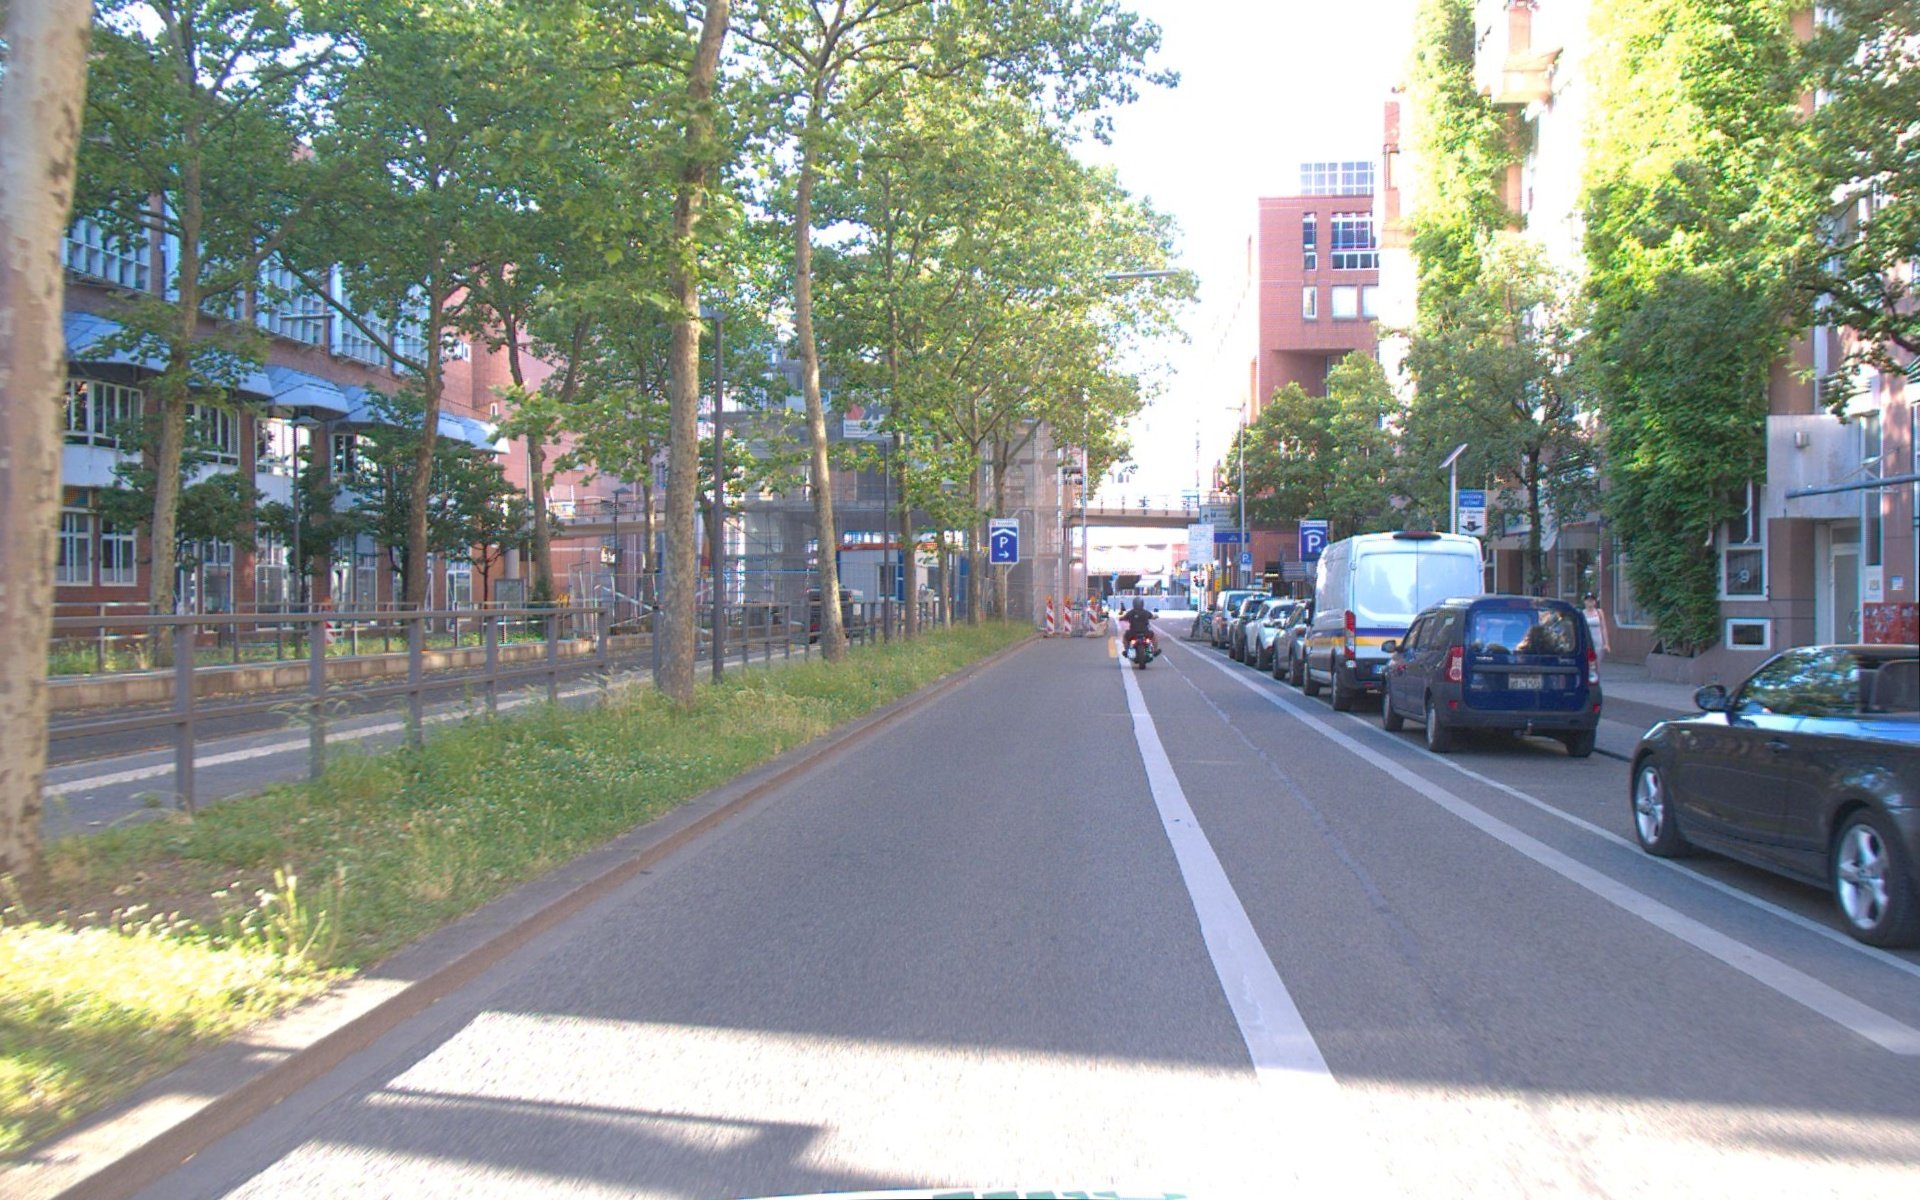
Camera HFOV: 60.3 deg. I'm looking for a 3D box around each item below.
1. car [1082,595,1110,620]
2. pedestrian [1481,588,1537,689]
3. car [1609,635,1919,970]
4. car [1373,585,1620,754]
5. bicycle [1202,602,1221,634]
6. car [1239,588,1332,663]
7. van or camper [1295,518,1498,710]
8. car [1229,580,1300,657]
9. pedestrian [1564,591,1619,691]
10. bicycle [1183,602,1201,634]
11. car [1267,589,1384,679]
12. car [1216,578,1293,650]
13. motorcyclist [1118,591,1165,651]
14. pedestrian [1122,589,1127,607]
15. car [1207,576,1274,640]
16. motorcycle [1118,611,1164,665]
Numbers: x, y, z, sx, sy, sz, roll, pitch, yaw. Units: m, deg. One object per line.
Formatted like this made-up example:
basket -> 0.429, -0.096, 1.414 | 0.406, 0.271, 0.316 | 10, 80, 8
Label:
car -> 9.986, 0.541, 121.708 | 1.813, 1.747, 4.001 | 0, 0, 1
pedestrian -> 9.172, 0.635, 27.629 | 0.747, 1.673, 0.547 | 0, 0, -3
car -> 4.989, 0.906, 8.791 | 1.586, 1.325, 4.313 | 0, 0, 3
car -> 5.805, 0.663, 18.420 | 1.586, 1.647, 4.487 | 0, 0, 4
bicycle -> 10.111, 0.718, 66.522 | 0.650, 1.256, 2.229 | 0, 0, 6
car -> 7.528, 0.552, 38.503 | 1.586, 1.638, 3.776 | 0, 0, 3
van or camper -> 6.486, 0.170, 25.289 | 2.005, 2.585, 5.776 | 0, 0, 4
car -> 7.874, 0.450, 42.961 | 1.586, 1.898, 3.777 | 0, 0, 7
pedestrian -> 9.582, 0.608, 25.097 | 0.749, 1.470, 0.780 | 1, 0, 22
bicycle -> 9.348, 0.706, 66.621 | 0.650, 1.256, 2.229 | 0, 0, 6
car -> 6.960, 0.601, 31.795 | 1.586, 1.631, 3.776 | 0, 0, 3
car -> 8.739, 0.384, 49.312 | 1.797, 2.049, 4.390 | 0, 0, 4
motorcyclist -> 4.066, 0.464, 37.098 | 0.990, 1.285, 0.774 | 2, 0, 6
pedestrian -> 17.194, -0.182, 172.551 | 0.530, 1.914, 0.529 | 0, 0, 6
car -> 9.274, 0.244, 54.969 | 1.797, 2.049, 4.390 | 0, 0, 4
motorcycle -> 4.056, 0.838, 37.091 | 0.996, 1.116, 2.009 | 0, 1, 6
